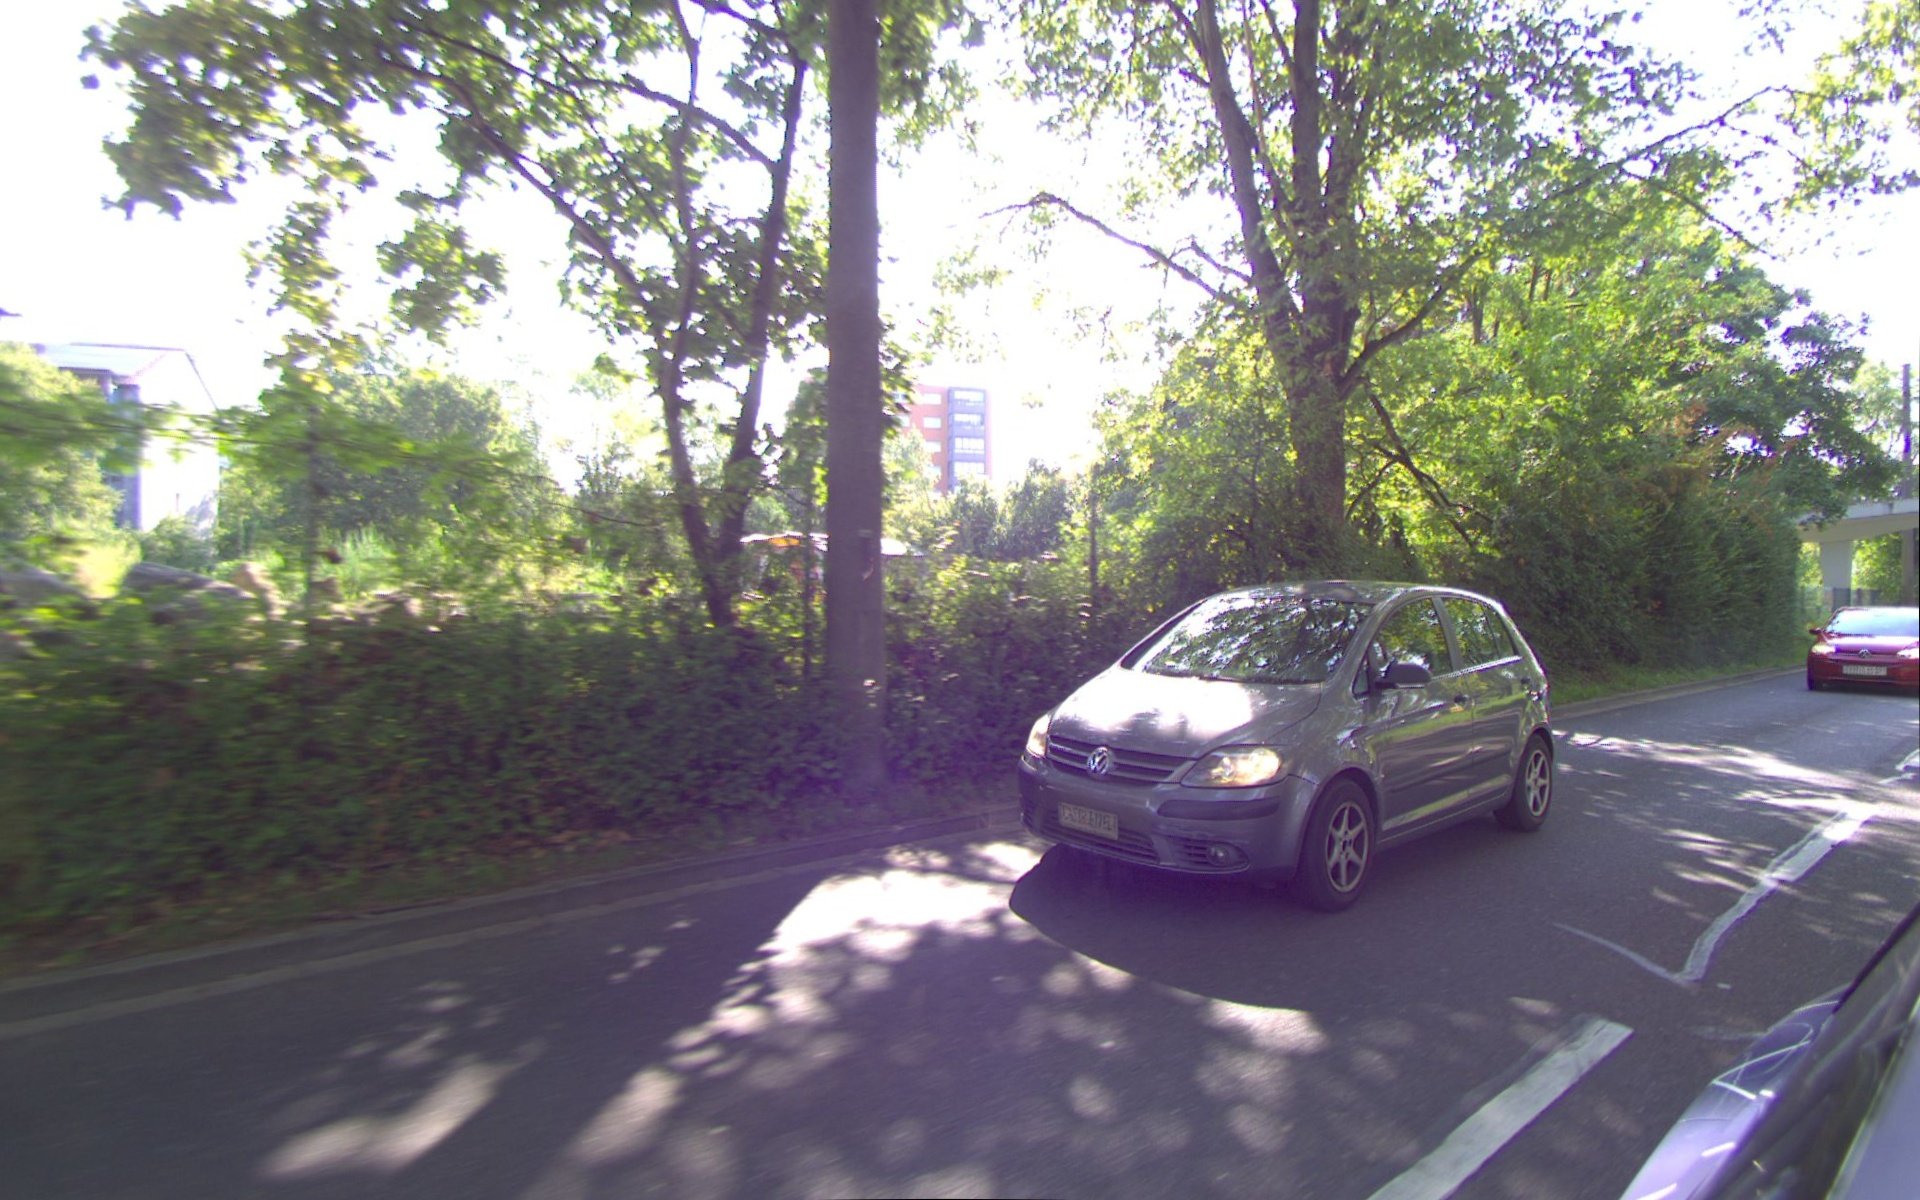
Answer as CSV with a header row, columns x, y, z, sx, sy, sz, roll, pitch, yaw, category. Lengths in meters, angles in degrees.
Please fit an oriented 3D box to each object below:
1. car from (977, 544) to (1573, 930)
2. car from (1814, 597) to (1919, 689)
x,y,z,sx,sy,sz,roll,pitch,yaw,category
2.070,0.546,6.036,3.832,1.576,1.647,-1,0,-42,car
16.479,0.690,17.723,3.407,1.416,1.580,-1,1,-36,car
